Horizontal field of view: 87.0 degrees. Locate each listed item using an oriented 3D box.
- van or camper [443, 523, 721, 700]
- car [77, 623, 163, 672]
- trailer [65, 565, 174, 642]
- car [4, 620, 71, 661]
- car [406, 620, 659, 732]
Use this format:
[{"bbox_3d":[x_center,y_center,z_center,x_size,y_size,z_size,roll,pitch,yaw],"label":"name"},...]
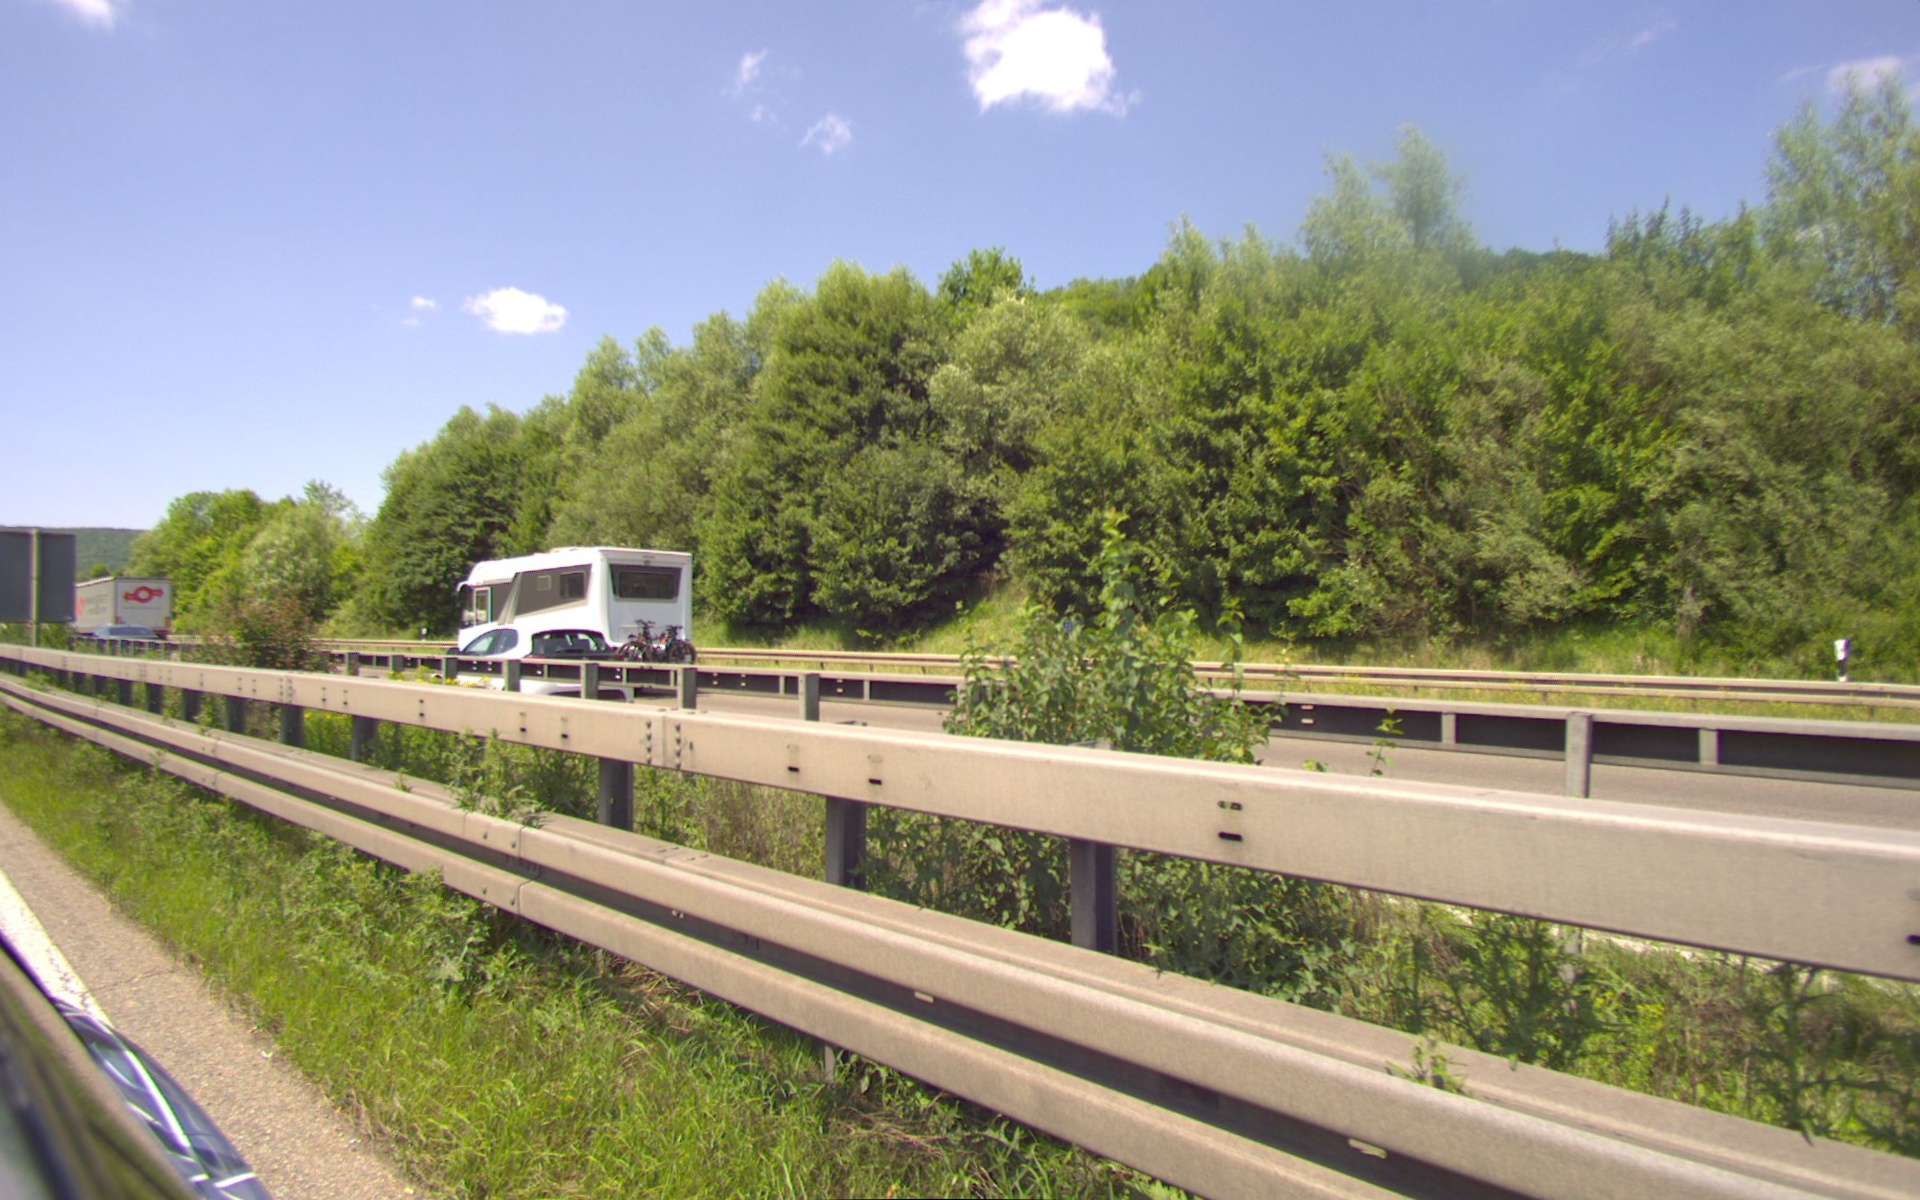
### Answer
[{"bbox_3d":[-8.691,0.299,22.717,7.644,3.361,2.563,-1,-2,41],"label":"van or camper"},{"bbox_3d":[-30.540,1.665,36.763,4.490,1.664,1.756,-1,-1,42],"label":"car"},{"bbox_3d":[-49.037,0.334,58.826,14.153,4.030,2.753,-2,-1,42],"label":"trailer"},{"bbox_3d":[-48.072,2.078,52.691,4.330,2.029,1.974,-1,-1,39],"label":"car"},{"bbox_3d":[-6.698,1.059,15.623,4.533,1.475,1.779,-1,-1,41],"label":"car"}]
